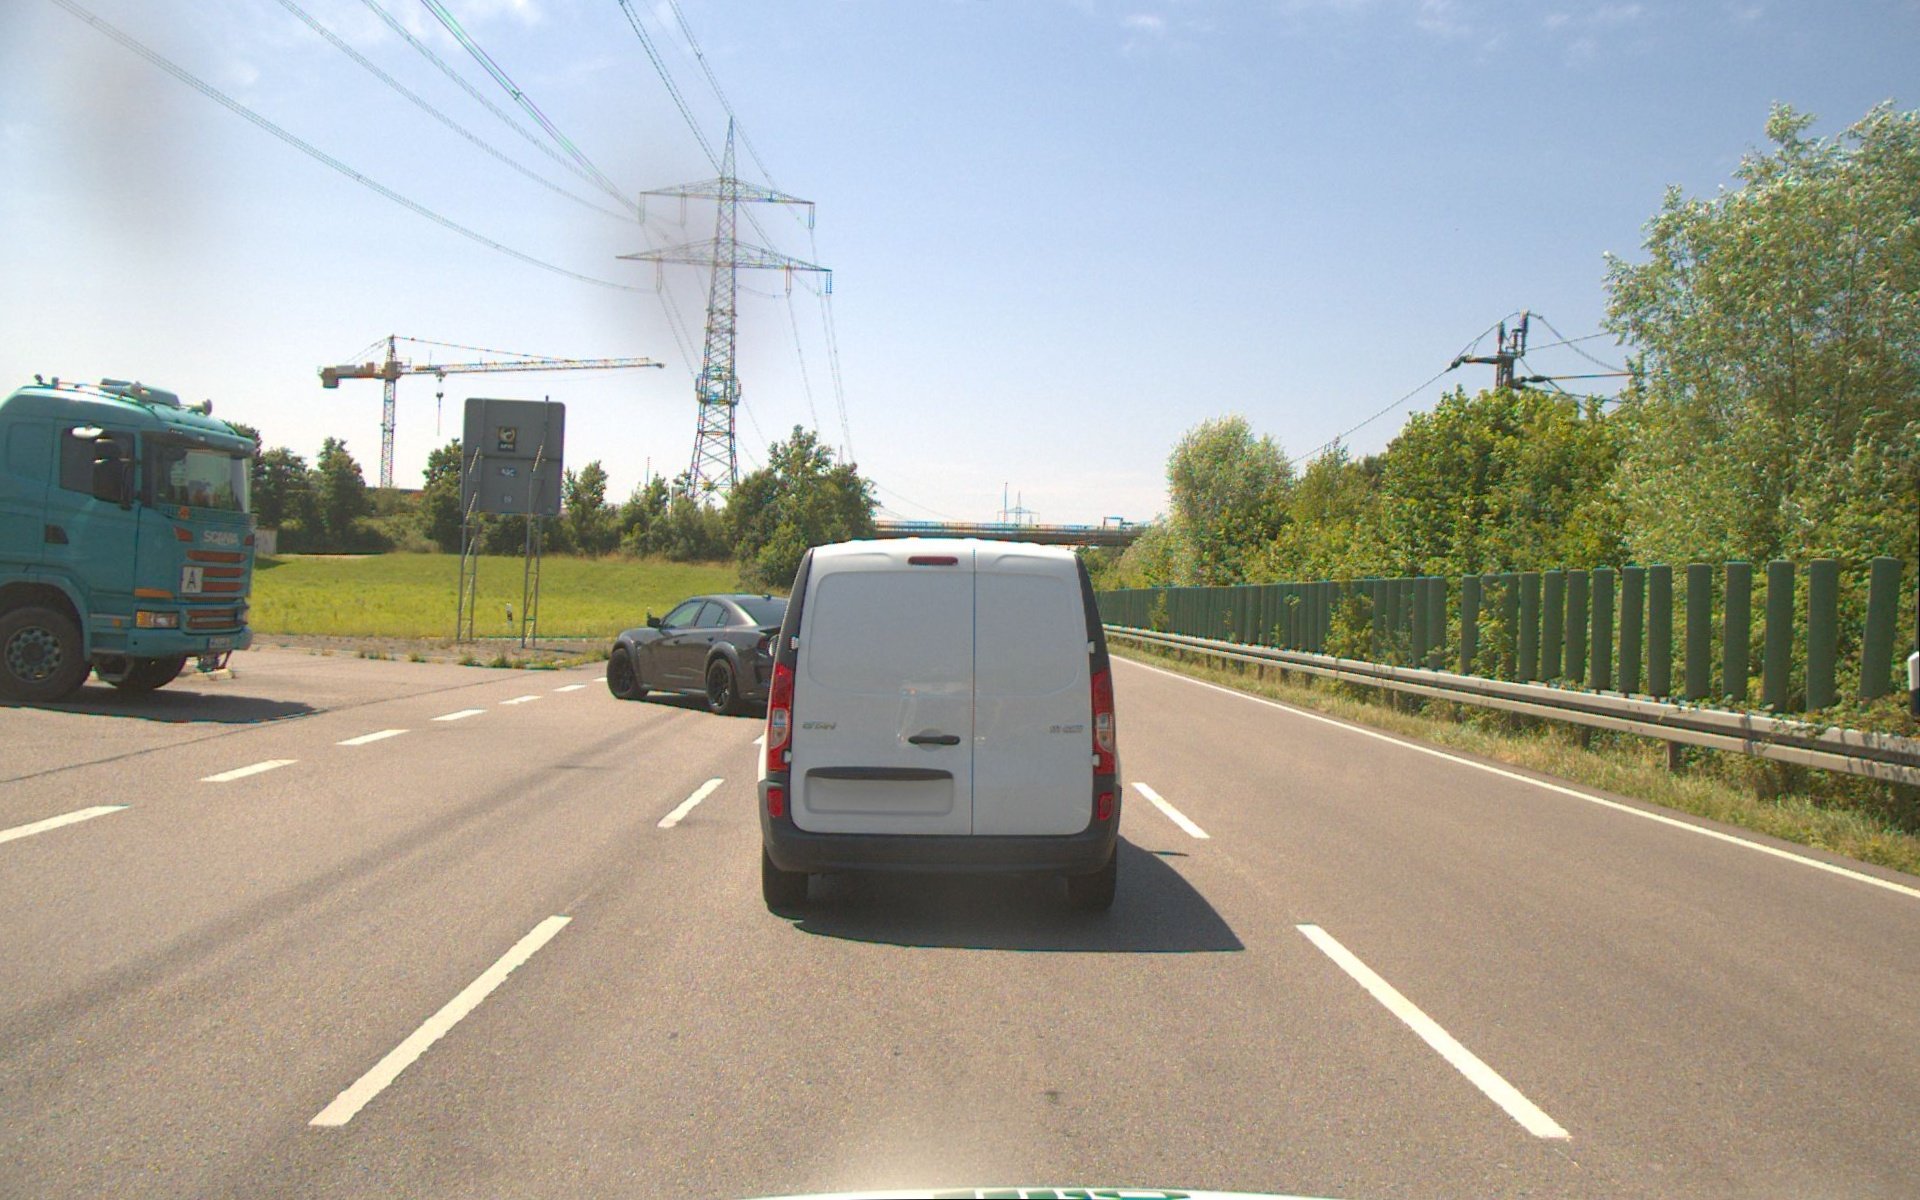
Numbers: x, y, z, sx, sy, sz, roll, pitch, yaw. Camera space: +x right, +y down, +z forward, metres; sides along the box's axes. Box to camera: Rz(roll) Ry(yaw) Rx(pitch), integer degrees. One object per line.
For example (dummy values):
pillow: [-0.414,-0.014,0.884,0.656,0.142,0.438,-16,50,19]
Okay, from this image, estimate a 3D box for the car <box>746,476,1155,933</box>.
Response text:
car: [-0.121,0.465,9.338,1.790,2.005,3.998,1,0,-3]

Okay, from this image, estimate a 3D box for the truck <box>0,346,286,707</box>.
truck: [-12.336,-0.981,19.260,7.742,3.799,2.498,4,0,1]

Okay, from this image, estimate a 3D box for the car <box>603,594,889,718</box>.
car: [-2.984,0.690,22.169,1.841,1.421,4.595,2,0,-35]
